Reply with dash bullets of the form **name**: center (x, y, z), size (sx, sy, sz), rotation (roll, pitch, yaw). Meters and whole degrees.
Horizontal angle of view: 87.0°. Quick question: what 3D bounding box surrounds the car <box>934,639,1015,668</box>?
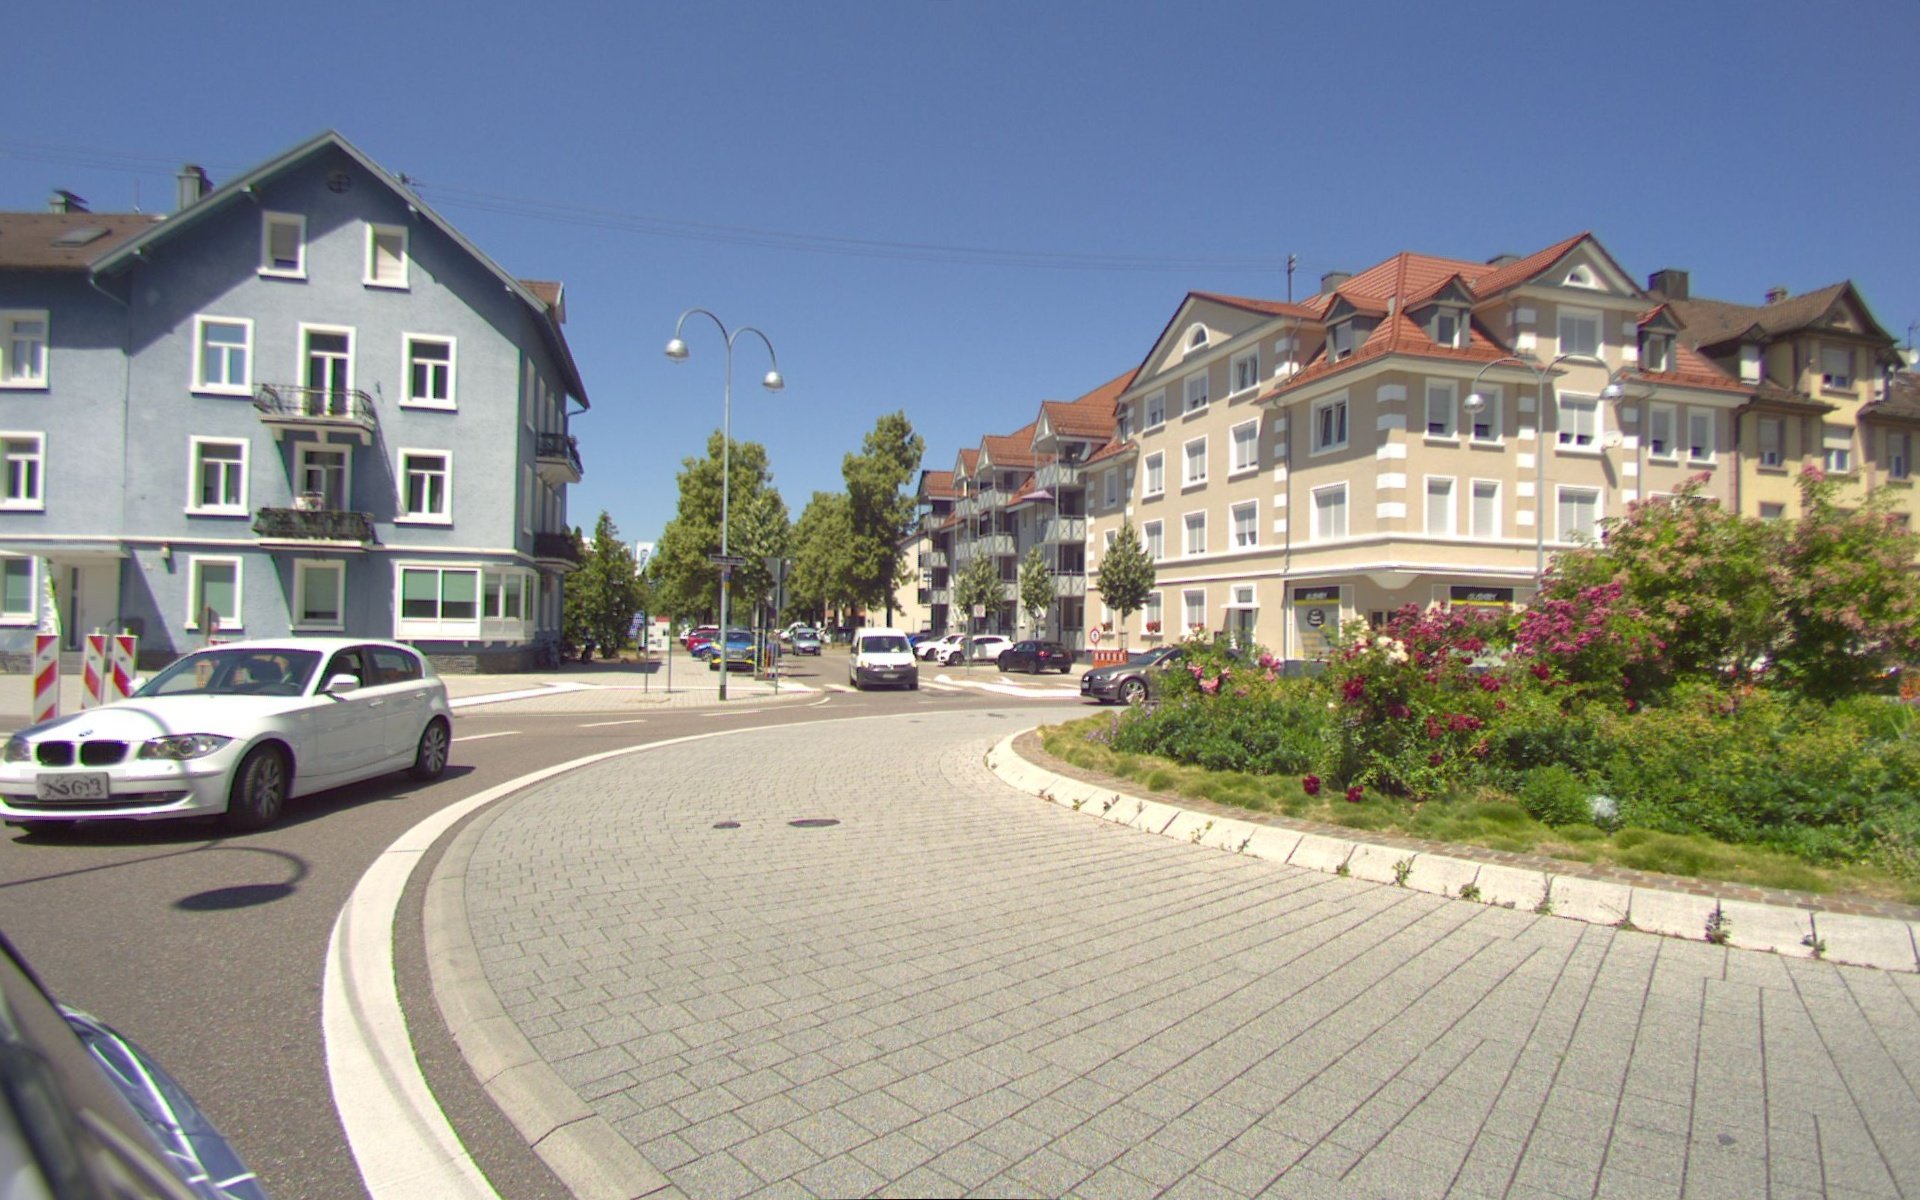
- **car**: center (0.778, 2.891, 55.041), size (4.013, 1.504, 1.988), rotation (1, -3, -15)

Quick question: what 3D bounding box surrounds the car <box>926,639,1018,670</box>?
- **car**: center (0.580, 2.801, 52.022), size (4.335, 1.504, 1.988), rotation (1, -3, -15)

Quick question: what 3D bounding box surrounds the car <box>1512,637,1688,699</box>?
- **car**: center (18.821, 1.991, 29.781), size (4.614, 1.698, 1.787), rotation (2, -2, -17)

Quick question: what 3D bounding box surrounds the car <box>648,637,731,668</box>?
- **car**: center (-13.596, 2.641, 50.977), size (3.964, 1.369, 1.666), rotation (1, 1, -14)

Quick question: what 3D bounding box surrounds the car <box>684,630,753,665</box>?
- **car**: center (-14.595, 2.868, 61.162), size (3.933, 2.029, 2.005), rotation (1, -1, -14)

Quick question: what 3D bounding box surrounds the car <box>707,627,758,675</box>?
- **car**: center (-9.103, 1.990, 40.287), size (1.751, 1.791, 4.255), rotation (1, -2, -15)

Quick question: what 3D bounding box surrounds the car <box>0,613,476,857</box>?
- **car**: center (-6.004, 0.944, 8.652), size (1.762, 1.563, 4.128), rotation (1, -2, 0)

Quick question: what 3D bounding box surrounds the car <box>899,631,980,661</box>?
- **car**: center (-1.220, 2.664, 58.801), size (4.299, 1.683, 1.988), rotation (1, -3, -15)

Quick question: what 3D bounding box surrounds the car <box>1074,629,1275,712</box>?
- **car**: center (4.914, 1.582, 23.454), size (4.177, 1.791, 1.784), rotation (0, -1, -7)

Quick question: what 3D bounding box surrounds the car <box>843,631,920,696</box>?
- **car**: center (-2.411, 1.815, 30.121), size (1.752, 1.791, 4.253), rotation (0, -2, -12)

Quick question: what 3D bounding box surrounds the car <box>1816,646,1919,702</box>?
- **car**: center (29.905, 2.371, 32.599), size (4.021, 1.629, 1.609), rotation (1, 0, -17)

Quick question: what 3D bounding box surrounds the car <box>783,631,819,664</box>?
- **car**: center (-10.453, 3.089, 66.477), size (1.967, 2.029, 4.011), rotation (1, -1, -13)
